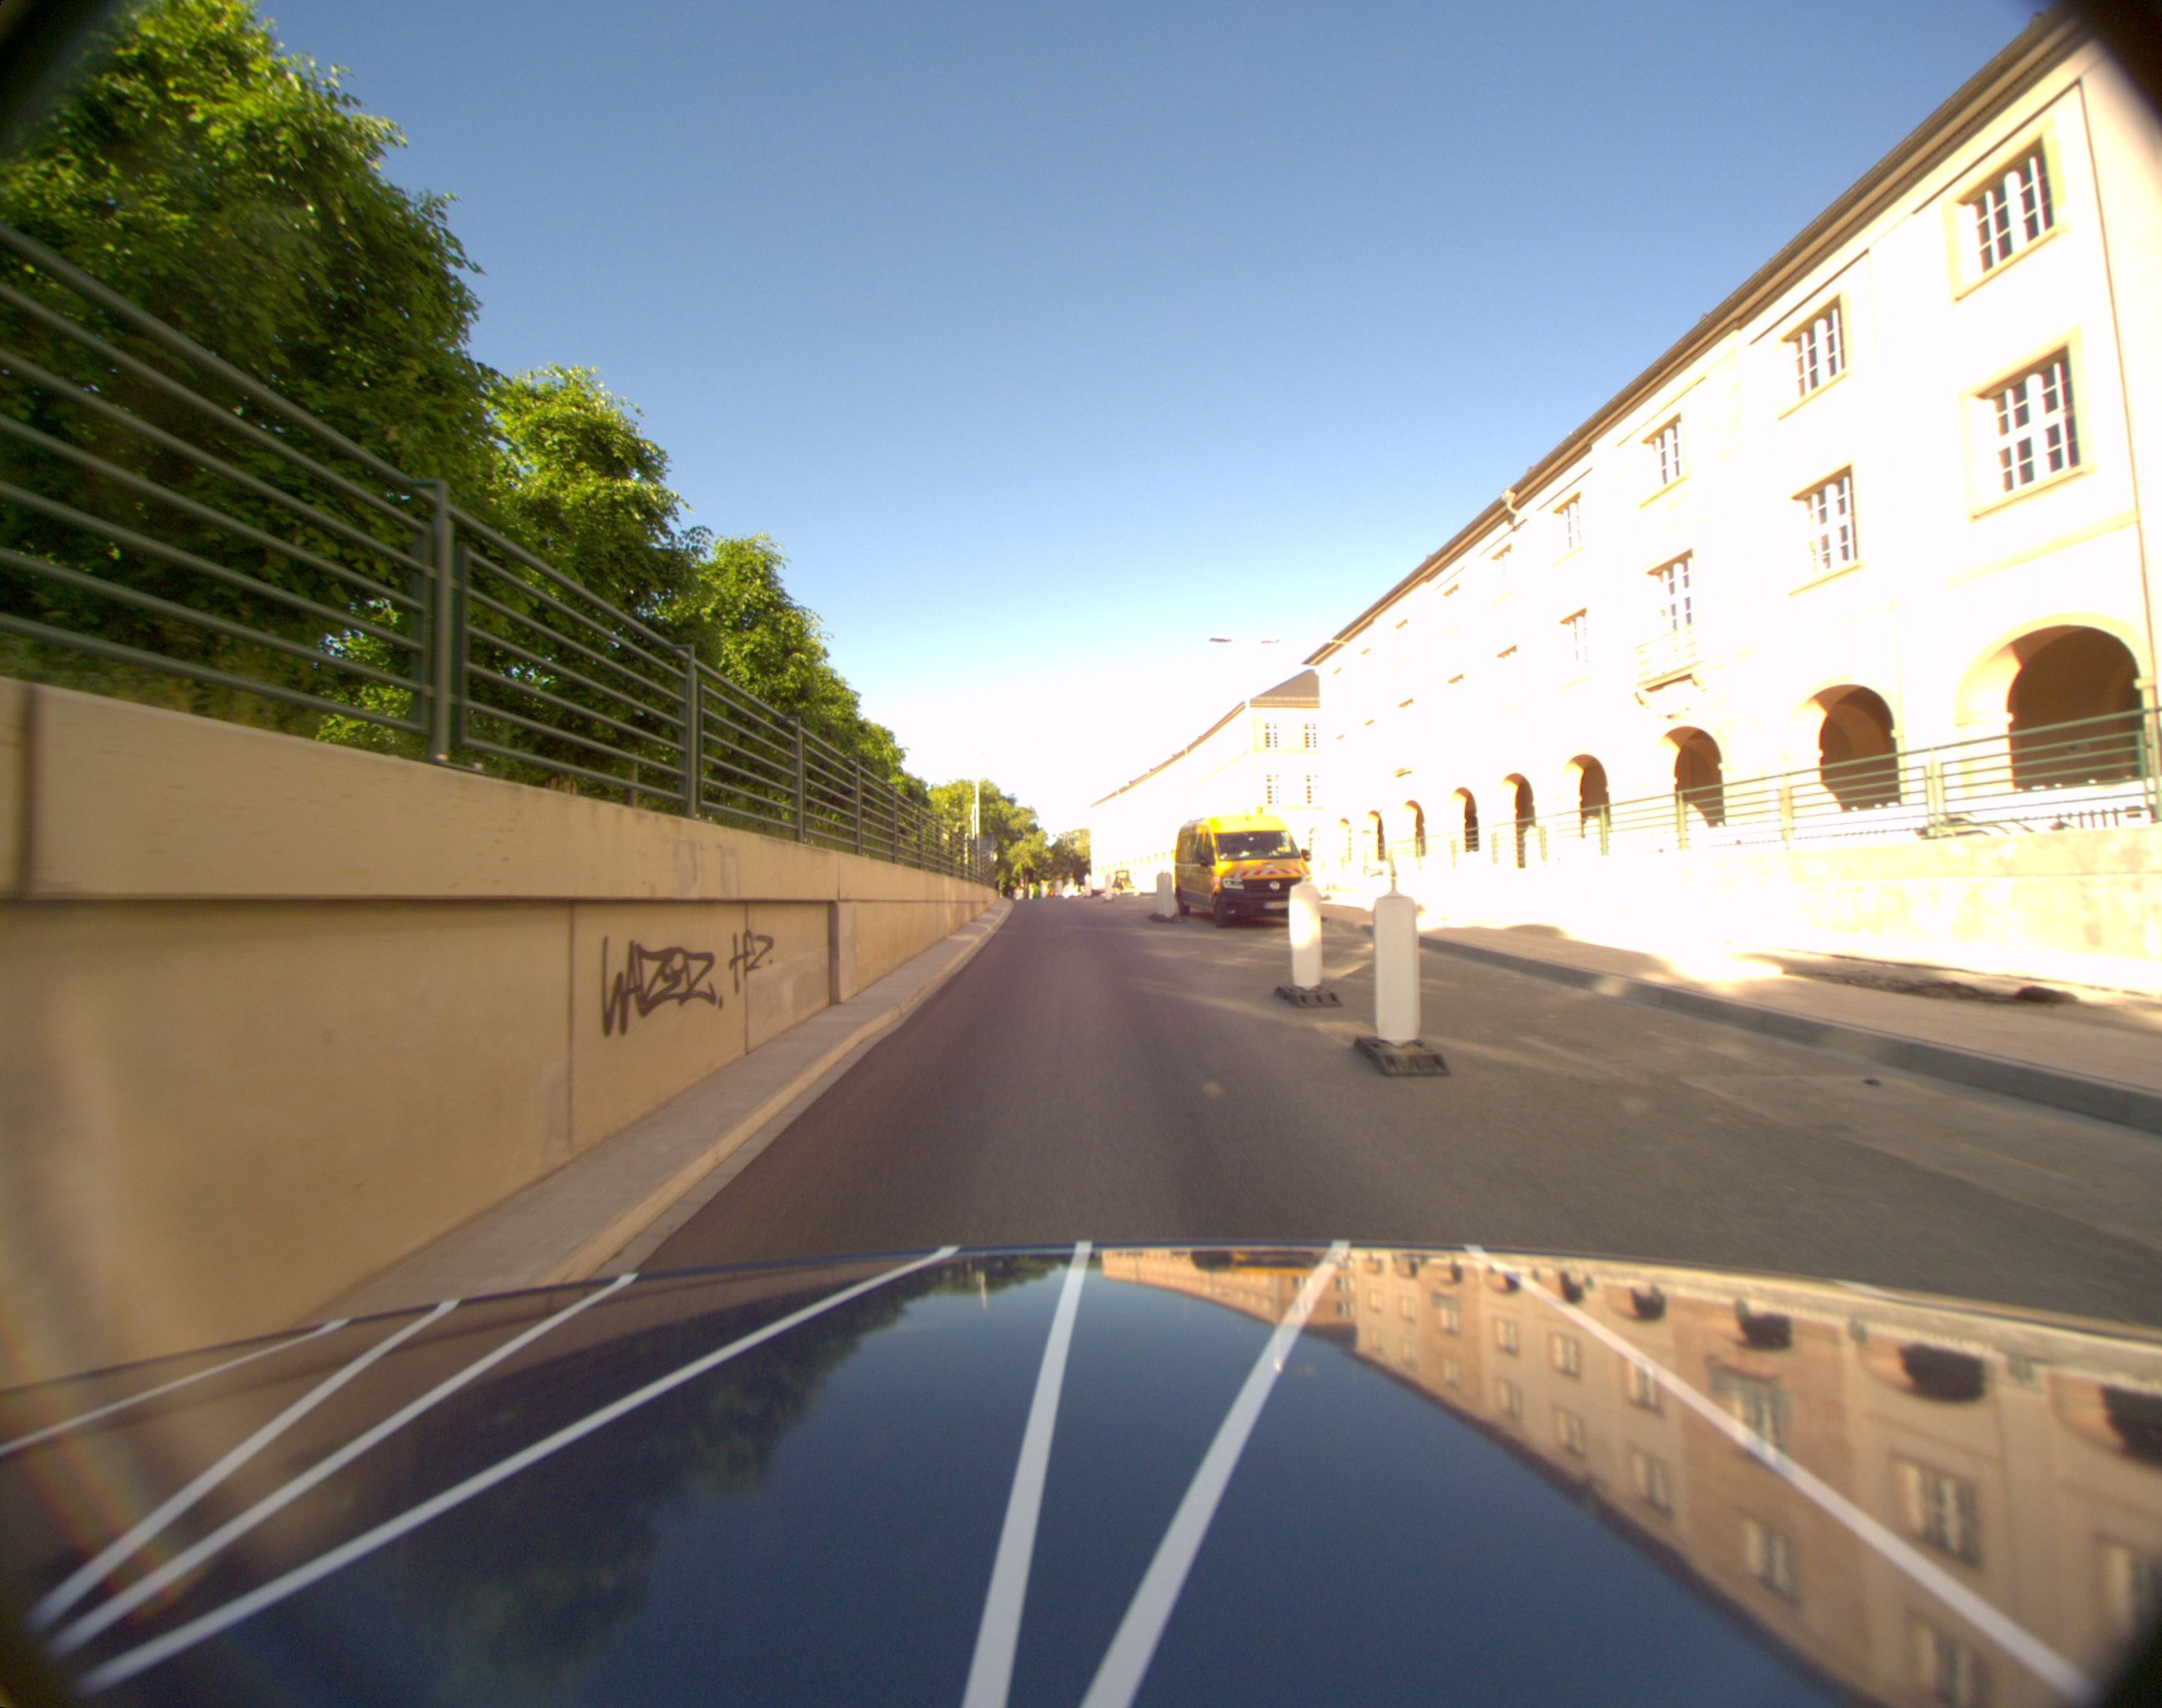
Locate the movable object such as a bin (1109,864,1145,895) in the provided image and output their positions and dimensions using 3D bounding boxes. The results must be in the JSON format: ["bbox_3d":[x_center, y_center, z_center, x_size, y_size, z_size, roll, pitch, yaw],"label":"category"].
[{"bbox_3d":[3.741,2.114,62.672,1.797,2.437,4.534,0,-3,-11],"label":"movable object such as a bin"}]

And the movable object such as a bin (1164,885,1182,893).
[{"bbox_3d":[7.731,2.978,64.187,1.191,0.693,1.240,0,-3,-10],"label":"movable object such as a bin"}]

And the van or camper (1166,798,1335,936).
[{"bbox_3d":[3.741,0.281,18.455,2.199,2.597,6.824,-4,0,-2],"label":"van or camper"}]

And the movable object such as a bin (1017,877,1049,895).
[{"bbox_3d":[-5.610,3.749,88.112,3.247,2.064,2.107,0,-3,-21],"label":"movable object such as a bin"}]
